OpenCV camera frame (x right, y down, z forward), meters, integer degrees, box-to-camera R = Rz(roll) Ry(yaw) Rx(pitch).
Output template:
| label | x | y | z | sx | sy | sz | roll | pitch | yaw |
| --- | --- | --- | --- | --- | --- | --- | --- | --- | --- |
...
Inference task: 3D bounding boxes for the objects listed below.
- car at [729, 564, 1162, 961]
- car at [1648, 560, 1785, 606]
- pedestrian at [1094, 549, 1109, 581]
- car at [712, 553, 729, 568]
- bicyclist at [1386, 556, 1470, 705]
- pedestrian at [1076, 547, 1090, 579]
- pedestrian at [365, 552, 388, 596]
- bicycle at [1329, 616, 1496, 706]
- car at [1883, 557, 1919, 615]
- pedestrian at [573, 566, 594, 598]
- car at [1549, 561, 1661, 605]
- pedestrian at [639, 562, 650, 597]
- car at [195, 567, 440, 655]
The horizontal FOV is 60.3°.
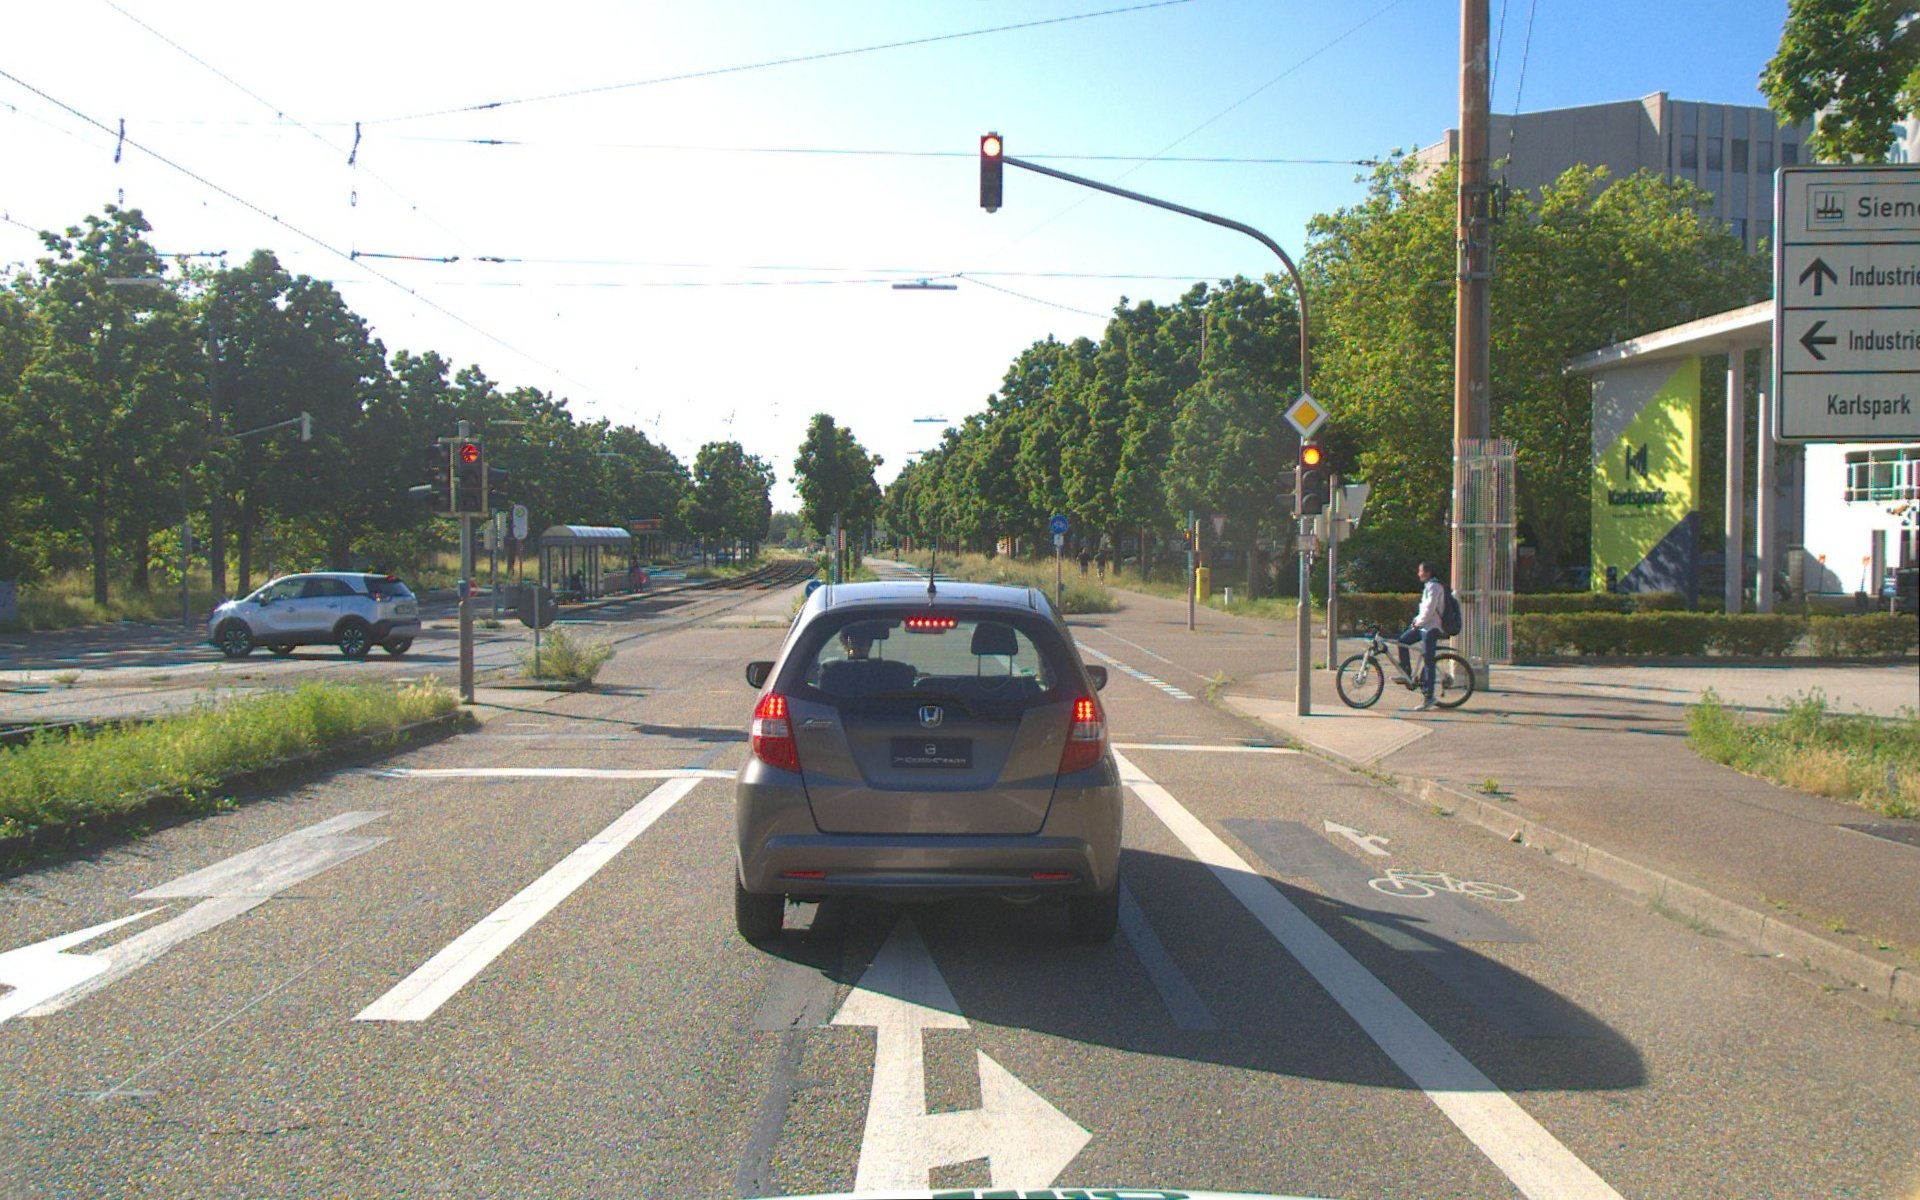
| label | x | y | z | sx | sy | sz | roll | pitch | yaw |
| --- | --- | --- | --- | --- | --- | --- | --- | --- | --- |
| car | -0.061 | 0.615 | 8.474 | 1.672 | 1.535 | 4.000 | 1 | 1 | 0 |
| car | 28.125 | -0.638 | 61.497 | 4.459 | 1.658 | 1.870 | 0 | 0 | -14 |
| pedestrian | 7.159 | -1.765 | 83.705 | 0.664 | 1.638 | 0.720 | 1 | 0 | -3 |
| car | -29.575 | -4.823 | 204.265 | 1.731 | 1.768 | 3.998 | 0 | 0 | -3 |
| bicyclist | 5.729 | 0.366 | 20.282 | 0.890 | 1.775 | 0.765 | -1 | 0 | 10 |
| pedestrian | 6.227 | -1.860 | 83.662 | 0.556 | 1.624 | 0.665 | 1 | 0 | -5 |
| pedestrian | -27.509 | -1.222 | 77.994 | 0.823 | 2.049 | 0.863 | 0 | 1 | -3 |
| bicycle | 5.532 | 0.747 | 20.320 | 1.879 | 1.015 | 0.765 | -2 | 0 | 10 |
| car | 31.070 | -0.434 | 51.350 | 3.914 | 1.750 | 1.895 | 0 | 1 | -10 |
| pedestrian | -15.083 | -0.739 | 66.234 | 0.706 | 1.267 | 0.710 | -1 | 1 | -3 |
| car | 26.710 | -0.698 | 68.521 | 3.919 | 1.788 | 1.993 | 0 | 1 | -14 |
| pedestrian | -15.427 | -0.991 | 80.855 | 0.493 | 1.705 | 0.387 | 0 | 1 | -12 |
| car | -12.604 | 0.189 | 32.535 | 4.150 | 1.634 | 1.858 | 0 | 1 | 12 |
